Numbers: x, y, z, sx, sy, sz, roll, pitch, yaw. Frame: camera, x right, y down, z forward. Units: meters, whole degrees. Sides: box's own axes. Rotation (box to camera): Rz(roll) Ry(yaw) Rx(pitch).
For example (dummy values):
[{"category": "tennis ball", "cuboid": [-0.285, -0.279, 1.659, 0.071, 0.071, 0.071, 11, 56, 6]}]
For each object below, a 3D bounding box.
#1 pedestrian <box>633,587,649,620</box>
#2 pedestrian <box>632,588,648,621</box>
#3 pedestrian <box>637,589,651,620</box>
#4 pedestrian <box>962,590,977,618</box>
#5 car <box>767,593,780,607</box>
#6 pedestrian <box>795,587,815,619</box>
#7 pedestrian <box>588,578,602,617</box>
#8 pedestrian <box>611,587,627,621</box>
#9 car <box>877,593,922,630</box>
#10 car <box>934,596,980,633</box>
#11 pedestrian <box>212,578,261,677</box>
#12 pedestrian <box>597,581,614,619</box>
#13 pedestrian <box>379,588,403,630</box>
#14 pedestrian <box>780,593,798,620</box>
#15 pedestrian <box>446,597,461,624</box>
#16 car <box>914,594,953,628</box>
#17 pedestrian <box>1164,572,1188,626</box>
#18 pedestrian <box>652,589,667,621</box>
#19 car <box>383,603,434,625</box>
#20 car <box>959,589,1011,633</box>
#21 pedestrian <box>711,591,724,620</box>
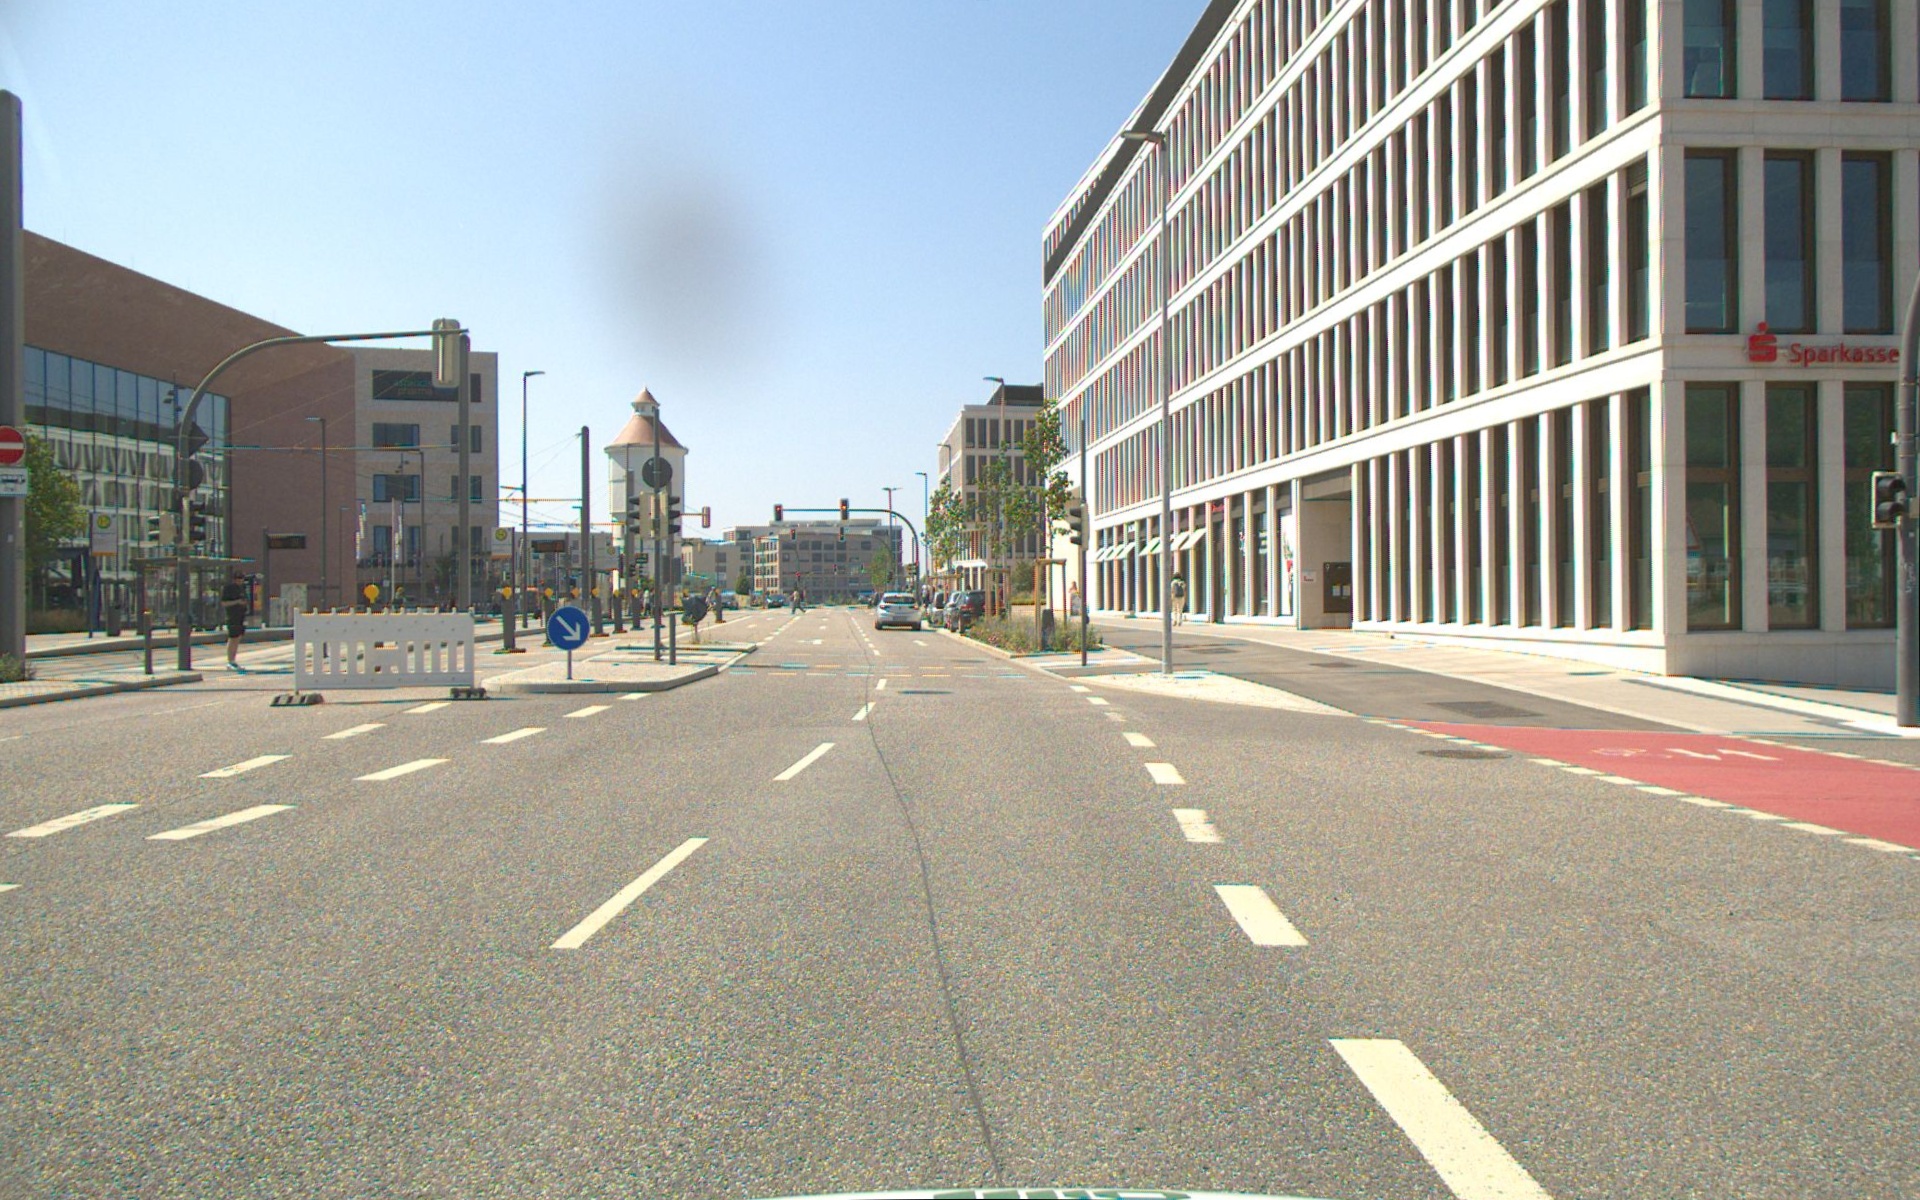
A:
[{"category": "pedestrian", "cuboid": [-18.366, 0.205, 95.179, 0.871, 1.923, 0.690, -1, 0, -9]}, {"category": "pedestrian", "cuboid": [-18.706, 0.259, 96.582, 0.871, 1.923, 0.690, -1, 0, -9]}, {"category": "pedestrian", "cuboid": [-19.358, 0.275, 101.317, 0.719, 1.923, 0.713, 1, 0, 0]}, {"category": "pedestrian", "cuboid": [0.580, 0.253, 98.780, 0.750, 1.648, 0.692, -1, 0, 12]}, {"category": "car", "cuboid": [-22.394, 0.009, 198.557, 1.556, 1.557, 3.688, 0, -1, -5]}, {"category": "pedestrian", "cuboid": [-9.896, 0.207, 105.731, 1.006, 2.049, 0.948, -1, 0, -23]}, {"category": "pedestrian", "cuboid": [-17.466, -0.100, 79.102, 0.542, 1.852, 0.595, 1, 0, -25]}, {"category": "pedestrian", "cuboid": [-19.670, 0.225, 95.378, 0.871, 1.923, 0.690, -1, 0, -9]}, {"category": "car", "cuboid": [-2.413, 0.480, 65.704, 1.736, 1.419, 3.529, 1, -1, -2]}, {"category": "car", "cuboid": [-0.133, 0.549, 66.073, 1.573, 1.412, 3.811, 0, 0, -4]}, {"category": "pedestrian", "cuboid": [-13.750, 0.515, 31.445, 0.639, 1.865, 0.661, 1, 0, 0]}, {"category": "pedestrian", "cuboid": [-17.545, -0.012, 81.768, 0.655, 1.852, 0.717, 1, 0, -27]}, {"category": "pedestrian", "cuboid": [-25.851, 0.405, 75.131, 0.795, 1.852, 0.824, 1, 0, -4]}, {"category": "pedestrian", "cuboid": [-10.878, 0.399, 105.207, 0.881, 1.703, 1.006, -1, 0, -23]}, {"category": "pedestrian", "cuboid": [-31.216, 0.645, 102.009, 0.697, 1.599, 0.890, -1, 0, -5]}, {"category": "car", "cuboid": [-1.187, 0.477, 73.987, 1.525, 1.498, 3.467, -1, 0, -4]}, {"category": "pedestrian", "cuboid": [7.160, -0.035, 54.823, 0.615, 1.773, 0.813, -1, 0, -4]}, {"category": "pedestrian", "cuboid": [-18.113, 0.301, 99.674, 0.751, 1.923, 0.691, -1, 0, -4]}, {"category": "car", "cuboid": [-45.691, 1.168, 137.165, 3.878, 1.848, 1.790, 0, -1, -17]}, {"category": "car", "cuboid": [0.846, 0.382, 58.810, 1.701, 1.500, 3.979, 0, 0, -2]}, {"category": "pedestrian", "cuboid": [-14.981, 0.345, 102.126, 0.751, 1.764, 0.691, -1, 0, -4]}]
